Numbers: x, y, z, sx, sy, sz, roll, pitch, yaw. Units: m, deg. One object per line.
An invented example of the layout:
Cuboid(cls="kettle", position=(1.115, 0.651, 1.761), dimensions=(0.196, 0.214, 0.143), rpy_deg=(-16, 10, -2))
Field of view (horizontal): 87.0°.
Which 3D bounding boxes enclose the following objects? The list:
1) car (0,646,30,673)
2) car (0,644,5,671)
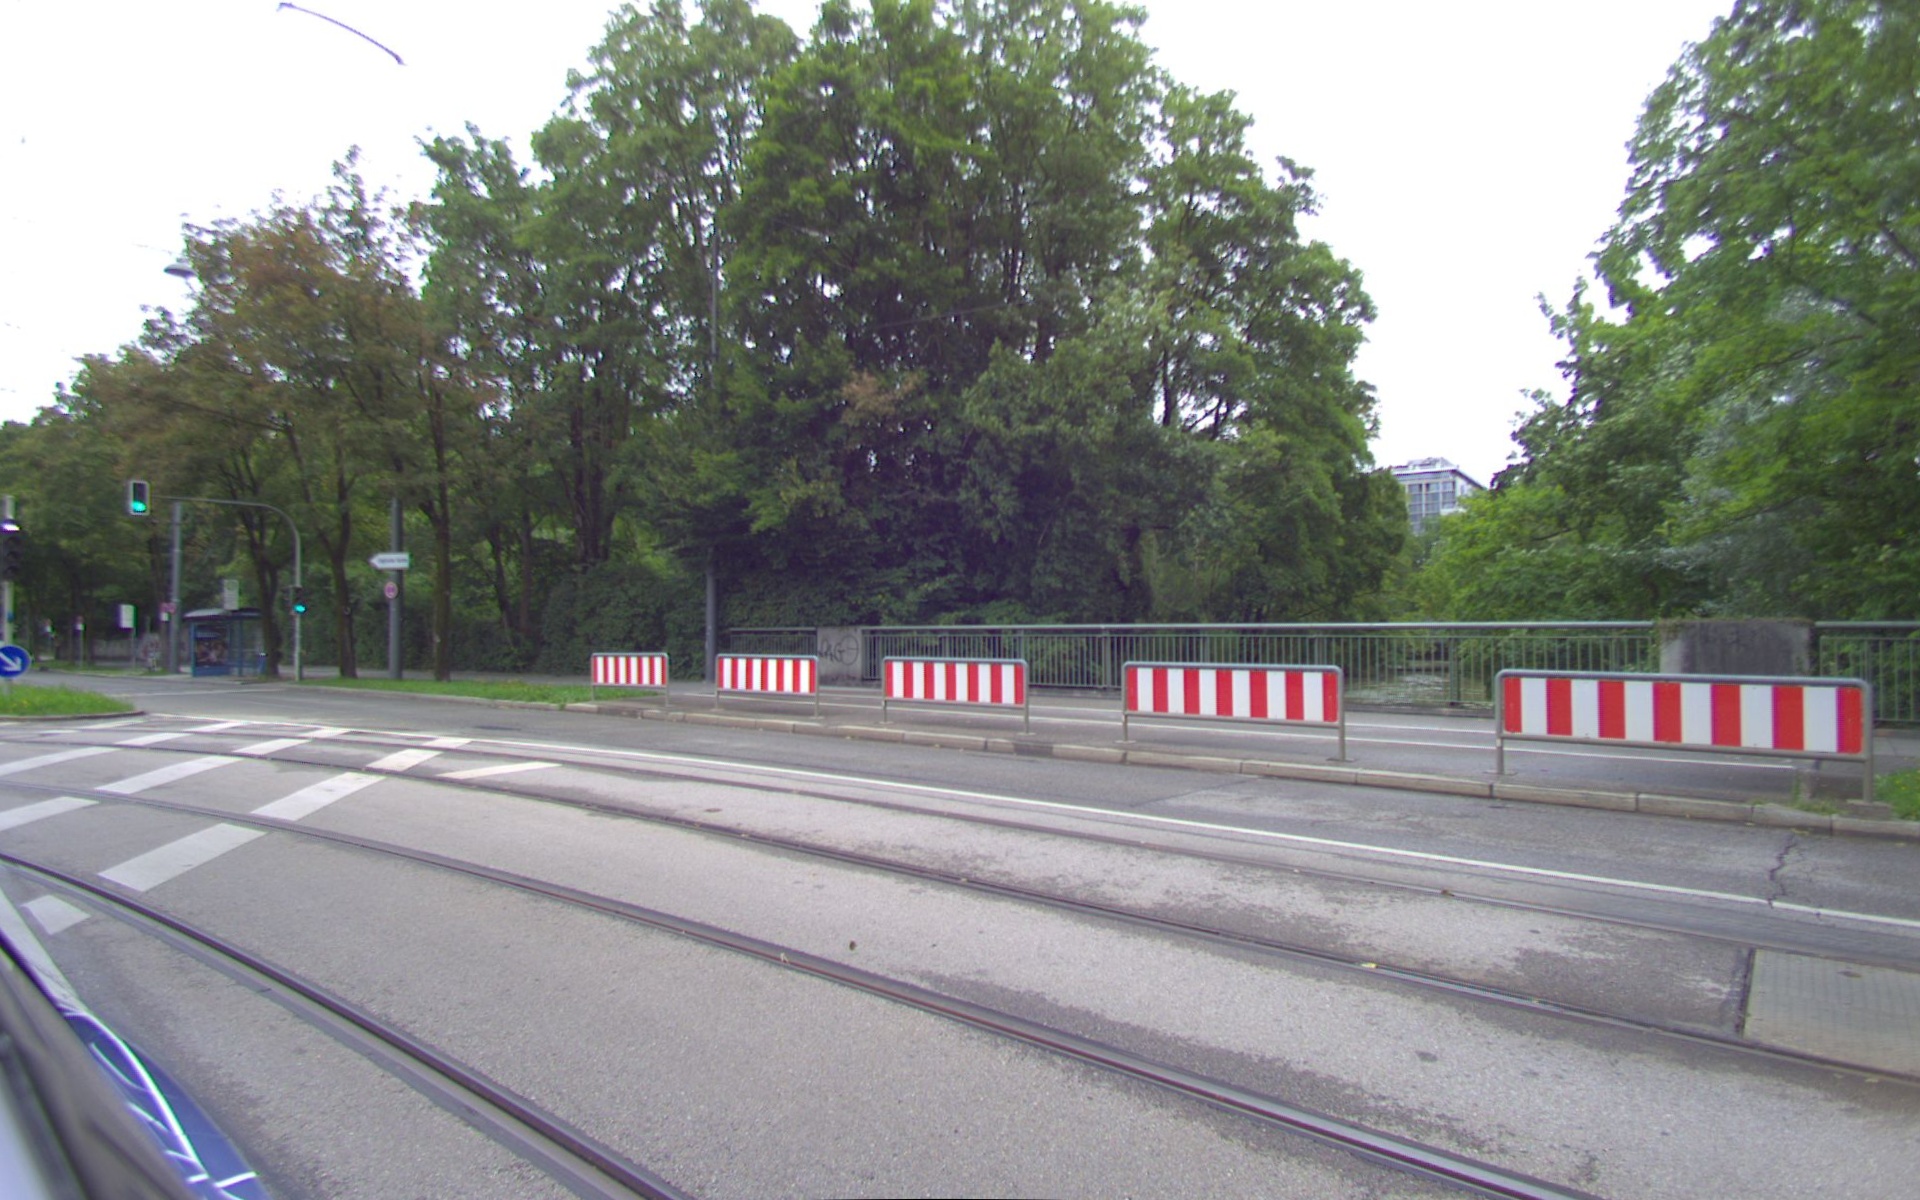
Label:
Cuboid(cls="car", position=(-60.259, 3.737, 63.796), dimensions=(3.996, 1.552, 1.864), rpy_deg=(-1, 0, 40))
Cuboid(cls="car", position=(-64.730, 3.821, 66.846), dimensions=(3.996, 1.739, 1.864), rpy_deg=(-1, 0, 40))
